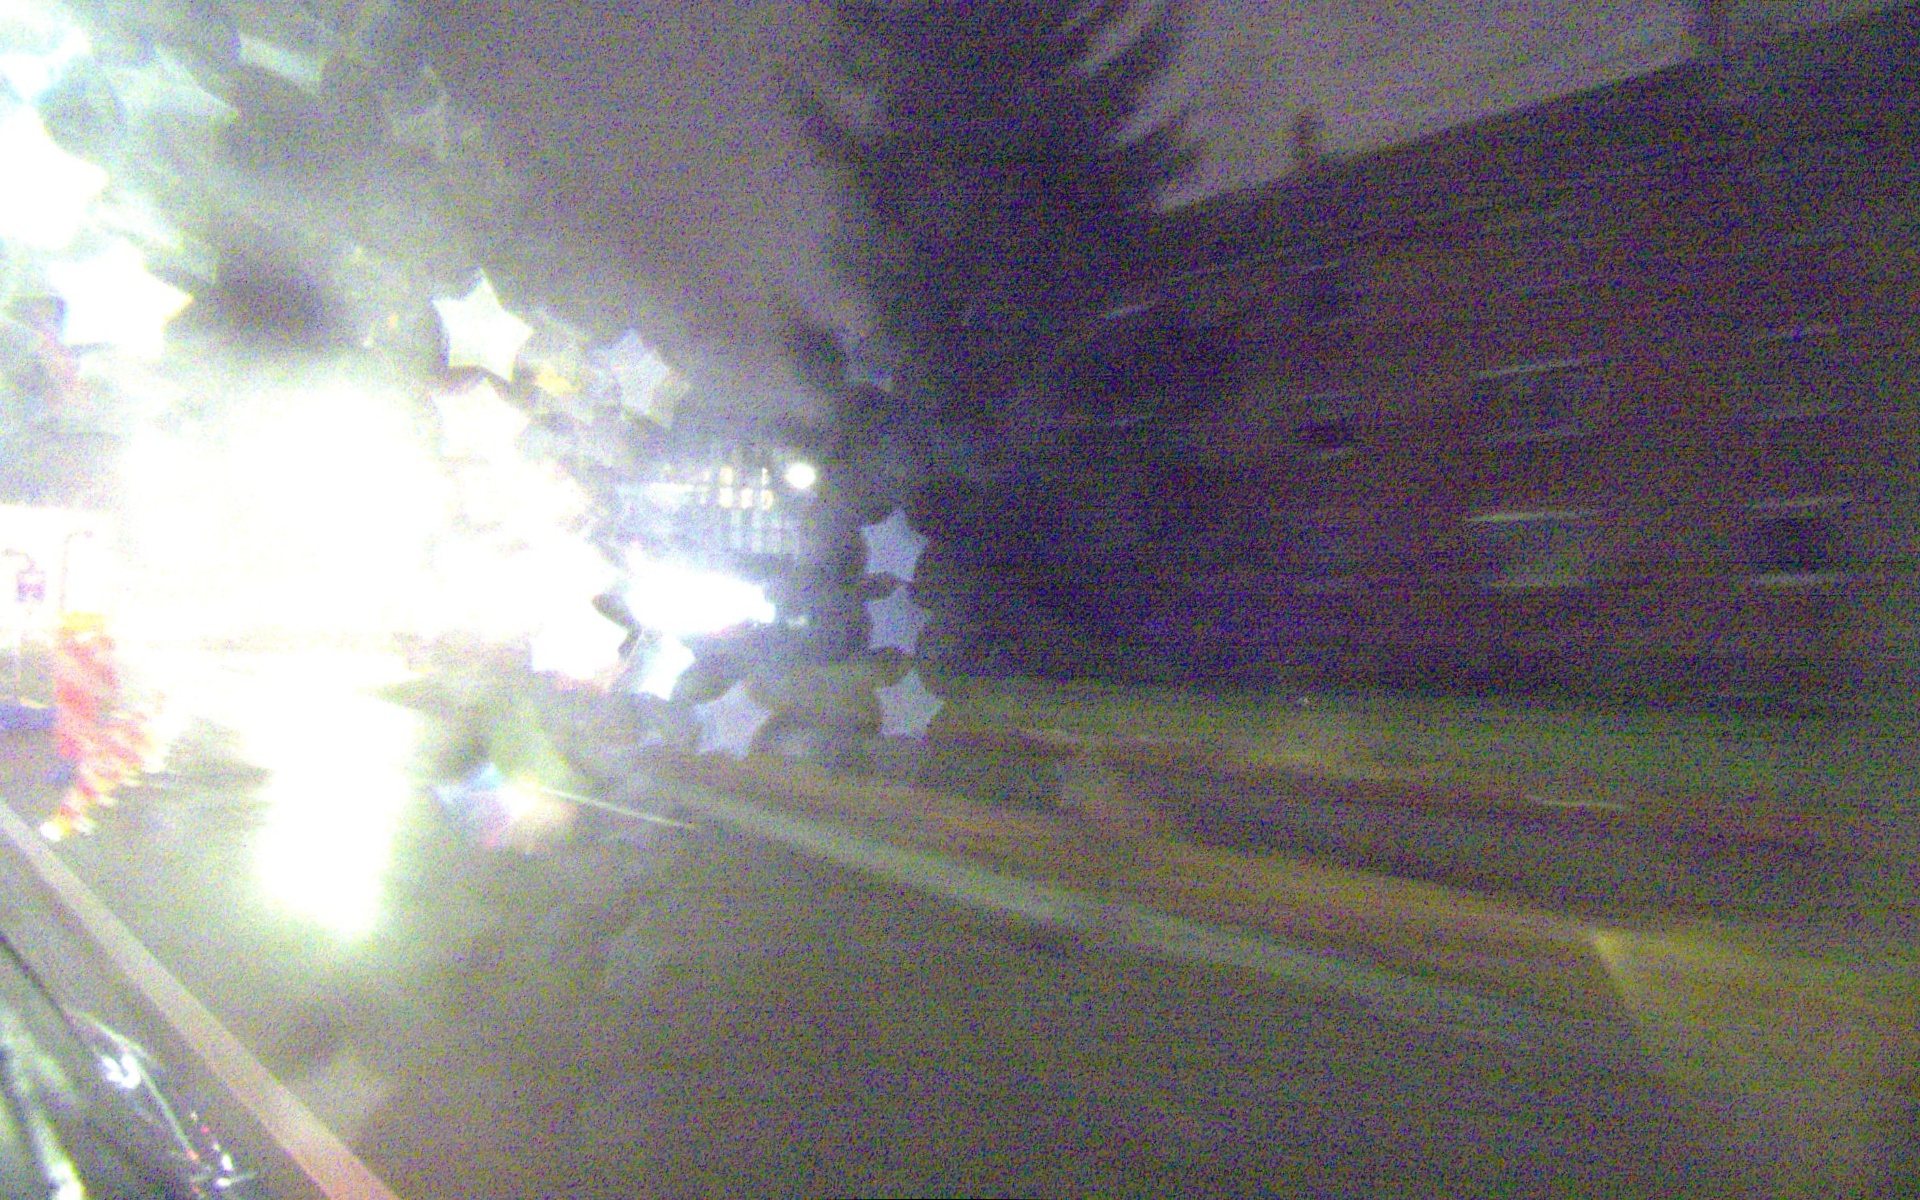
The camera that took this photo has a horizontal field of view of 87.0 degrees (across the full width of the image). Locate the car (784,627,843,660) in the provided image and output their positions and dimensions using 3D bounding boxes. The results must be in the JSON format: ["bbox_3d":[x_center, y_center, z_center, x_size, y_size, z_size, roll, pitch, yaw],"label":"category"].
[{"bbox_3d":[-6.435,1.847,44.063,1.510,1.345,3.833,1,-1,-25],"label":"car"}]

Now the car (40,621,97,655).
[{"bbox_3d":[-44.667,1.893,50.735,1.969,1.466,4.309,6,-5,-41],"label":"car"}]

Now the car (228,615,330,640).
[{"bbox_3d":[-52.066,2.129,77.578,1.988,1.829,6.389,0,-1,24],"label":"car"}]

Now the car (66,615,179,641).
[{"bbox_3d":[-51.487,1.694,62.349,1.984,1.477,5.067,0,-1,19],"label":"car"}]

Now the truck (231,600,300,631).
[{"bbox_3d":[-57.702,1.323,84.314,2.283,2.415,7.835,1,-1,-15],"label":"truck"}]

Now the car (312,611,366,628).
[{"bbox_3d":[-62.067,1.937,101.170,4.351,1.544,2.007,2,-1,-24],"label":"car"}]

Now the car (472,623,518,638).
[{"bbox_3d":[-49.546,3.239,107.885,4.354,1.634,2.006,1,-2,-25],"label":"car"}]

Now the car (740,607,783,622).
[{"bbox_3d":[-22.431,1.615,114.499,4.354,1.634,2.007,2,-1,-25],"label":"car"}]
